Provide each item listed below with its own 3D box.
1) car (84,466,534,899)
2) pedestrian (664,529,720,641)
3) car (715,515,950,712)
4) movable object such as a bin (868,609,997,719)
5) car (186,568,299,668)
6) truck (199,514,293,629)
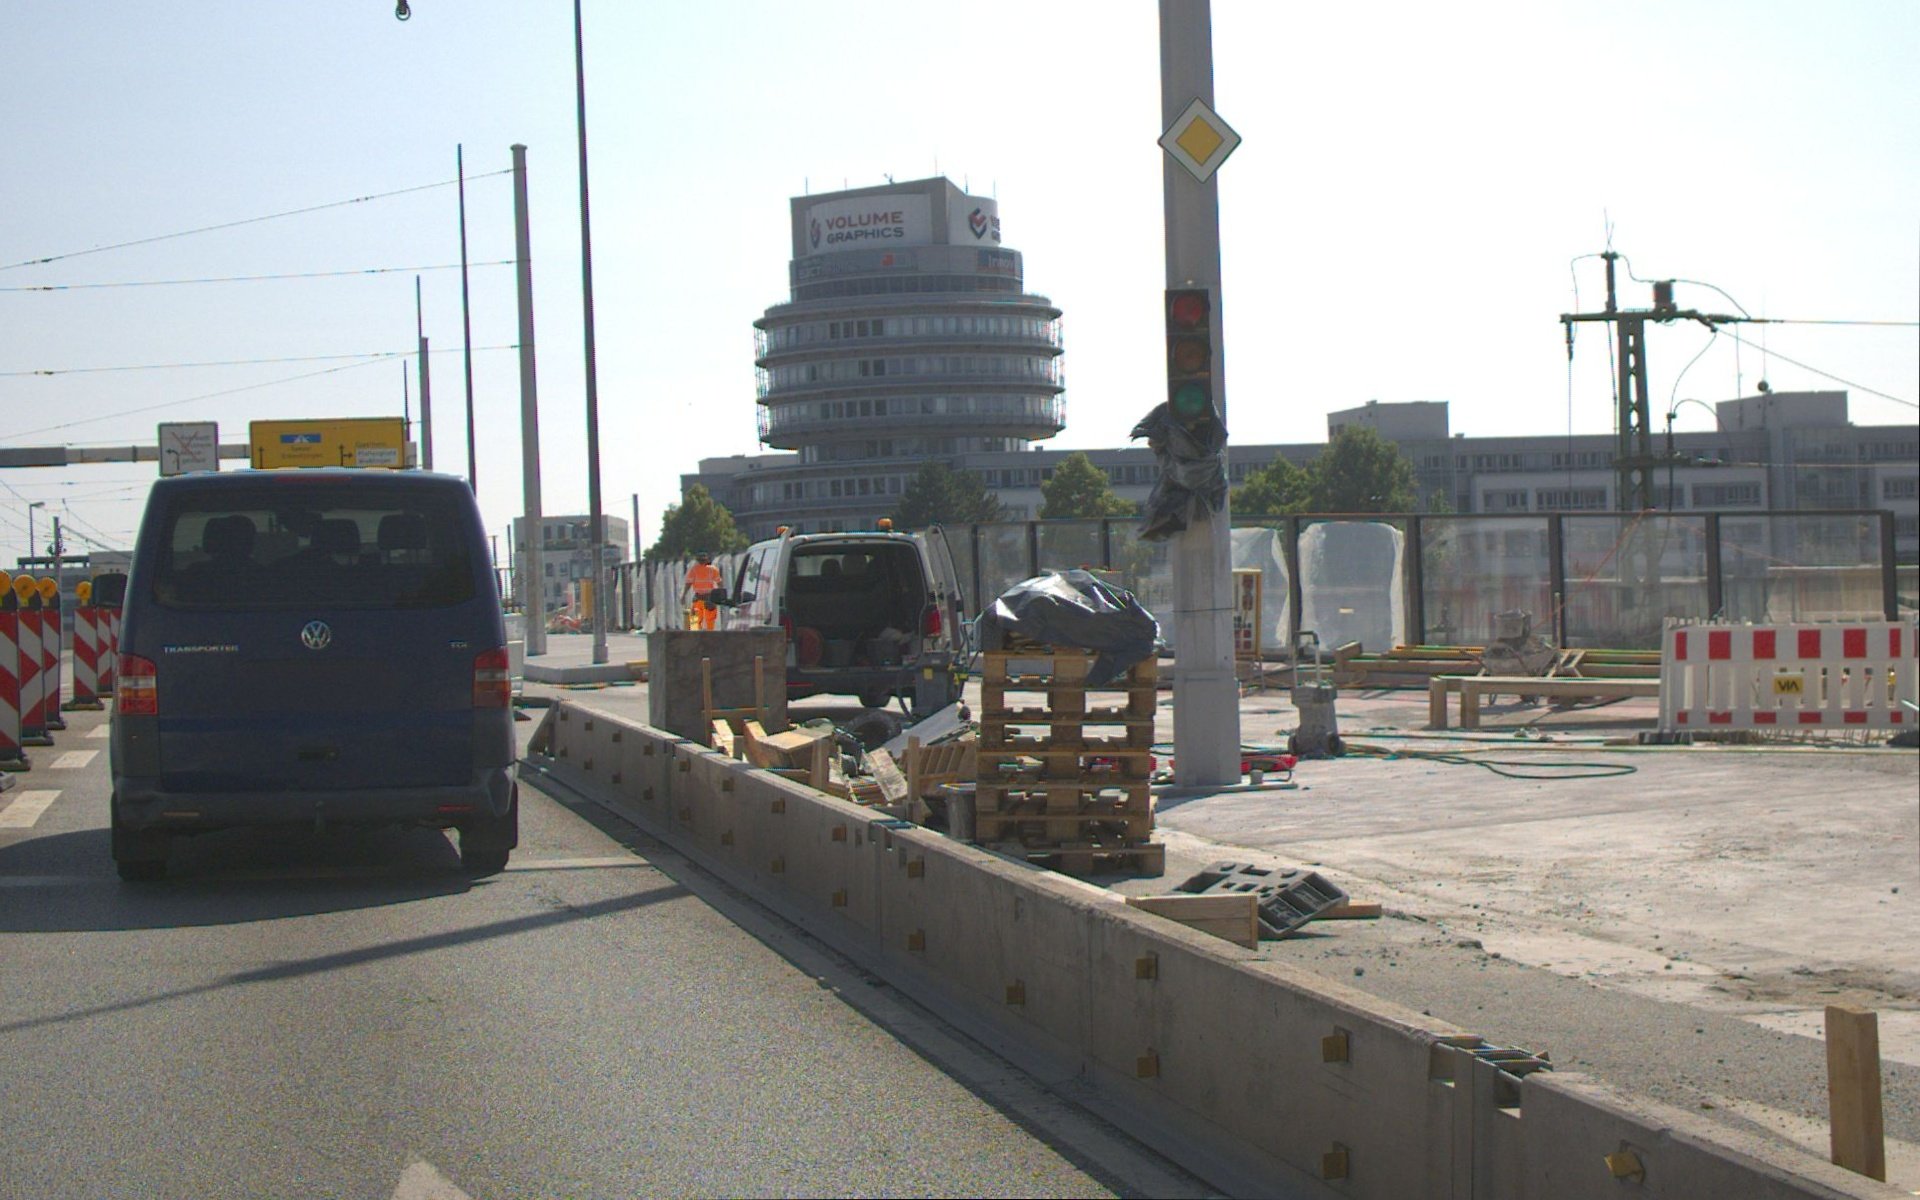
[{"bbox_3d":[-3.404,0.340,17.383,1.815,1.899,4.055,-1,1,-16],"label":"car"},{"bbox_3d":[-4.711,-0.256,60.444,0.782,1.928,0.799,-3,0,-12],"label":"pedestrian"},{"bbox_3d":[-1.491,0.145,38.070,1.878,2.026,4.892,-1,0,-10],"label":"car"},{"bbox_3d":[-0.276,0.635,34.524,0.941,1.070,0.890,-1,0,35],"label":"movable object such as a bin"},{"bbox_3d":[-11.665,0.261,55.825,1.717,1.526,3.698,-1,1,-12],"label":"car"},{"bbox_3d":[-21.052,-0.875,101.335,2.460,3.124,11.219,-2,1,-12],"label":"truck"}]
